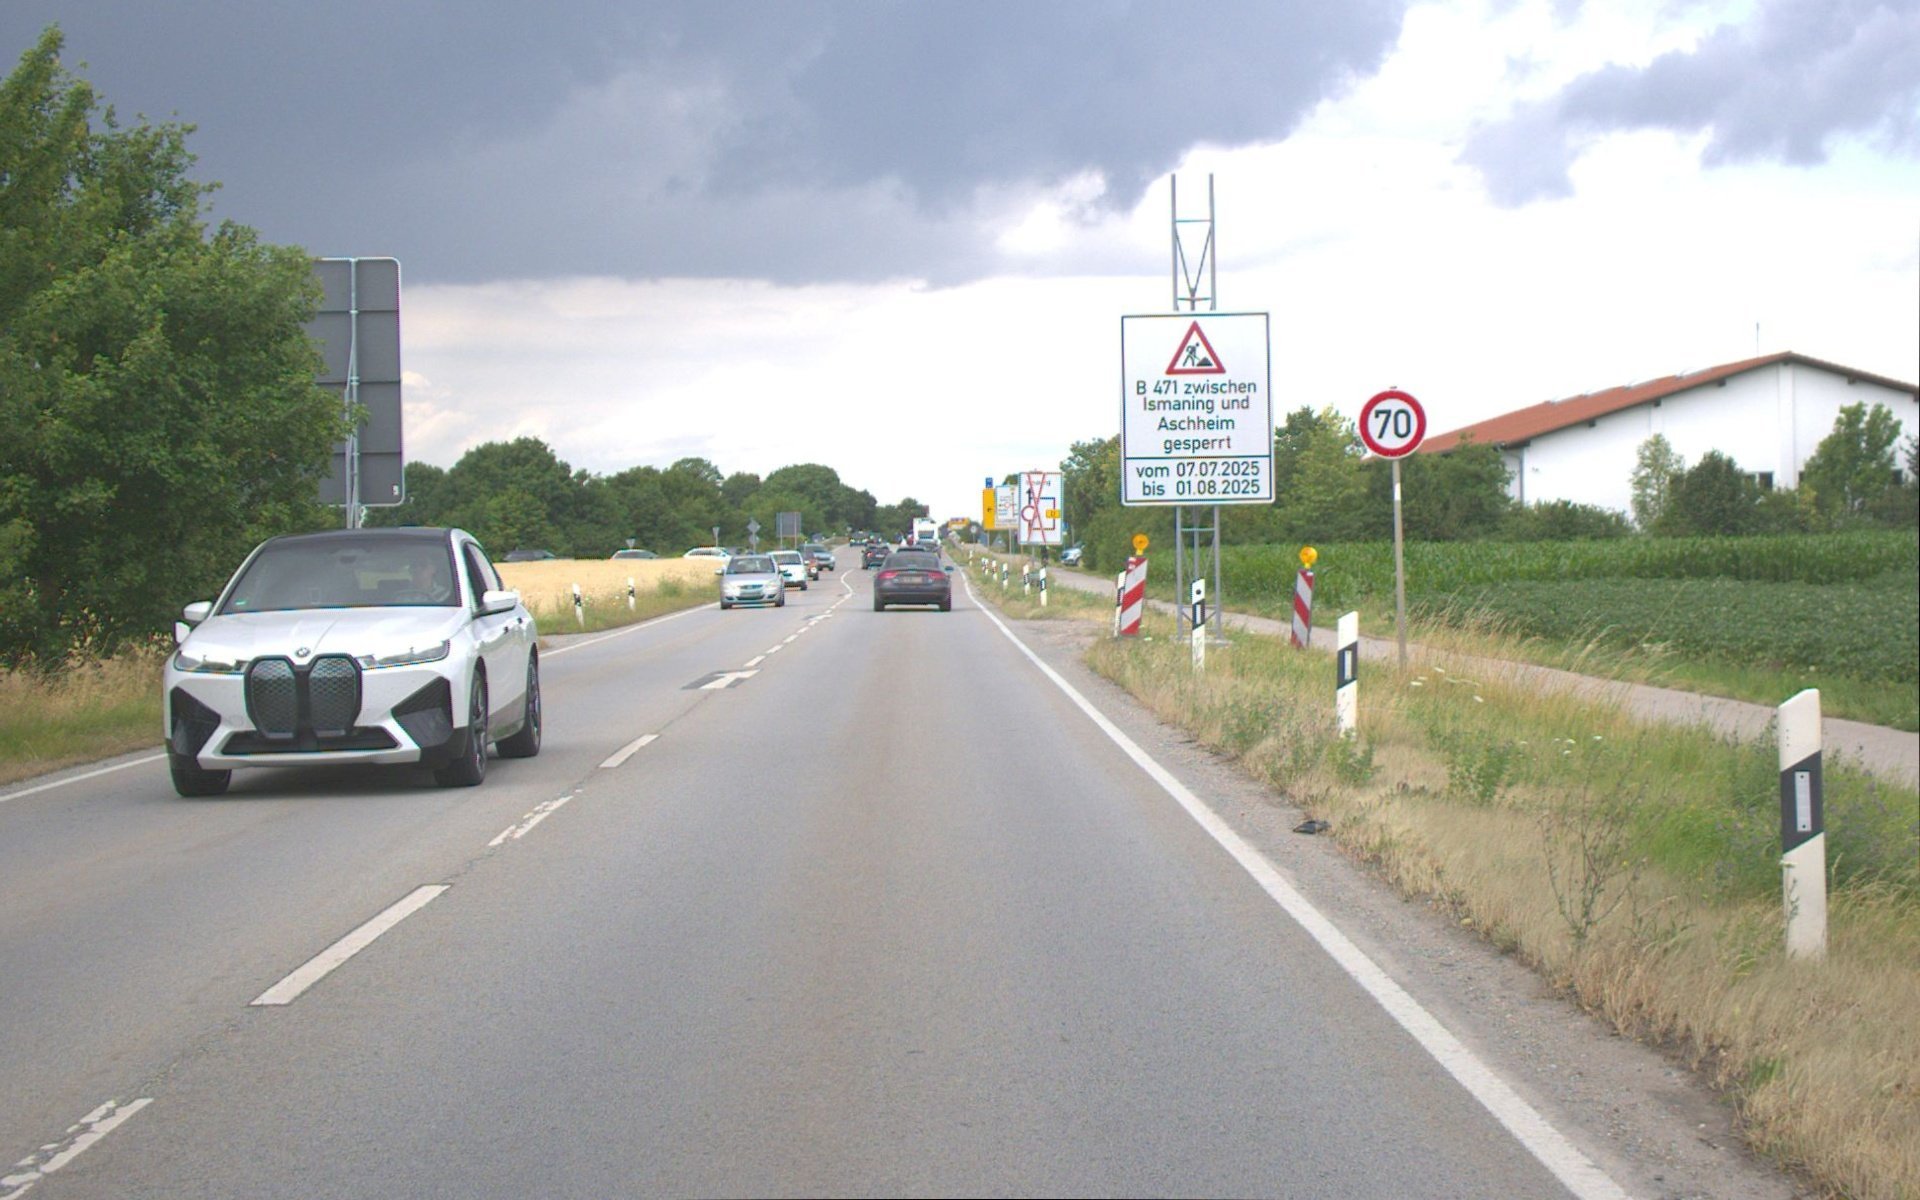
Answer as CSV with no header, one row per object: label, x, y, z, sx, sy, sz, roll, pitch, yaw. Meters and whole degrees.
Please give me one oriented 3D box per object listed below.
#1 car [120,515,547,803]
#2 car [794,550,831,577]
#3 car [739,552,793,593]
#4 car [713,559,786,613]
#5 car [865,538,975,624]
car,-4.047,0.313,23.037,1.993,1.678,4.810,-1,1,-1
car,-8.967,-2.244,209.551,2.065,1.575,4.765,-2,1,-1
car,-7.287,-1.050,129.253,1.806,1.451,4.114,-1,1,-1
car,-5.606,-0.383,91.853,1.728,1.359,3.950,-1,1,-1
car,-0.991,-0.466,82.209,2.371,1.874,4.478,-3,1,-3
